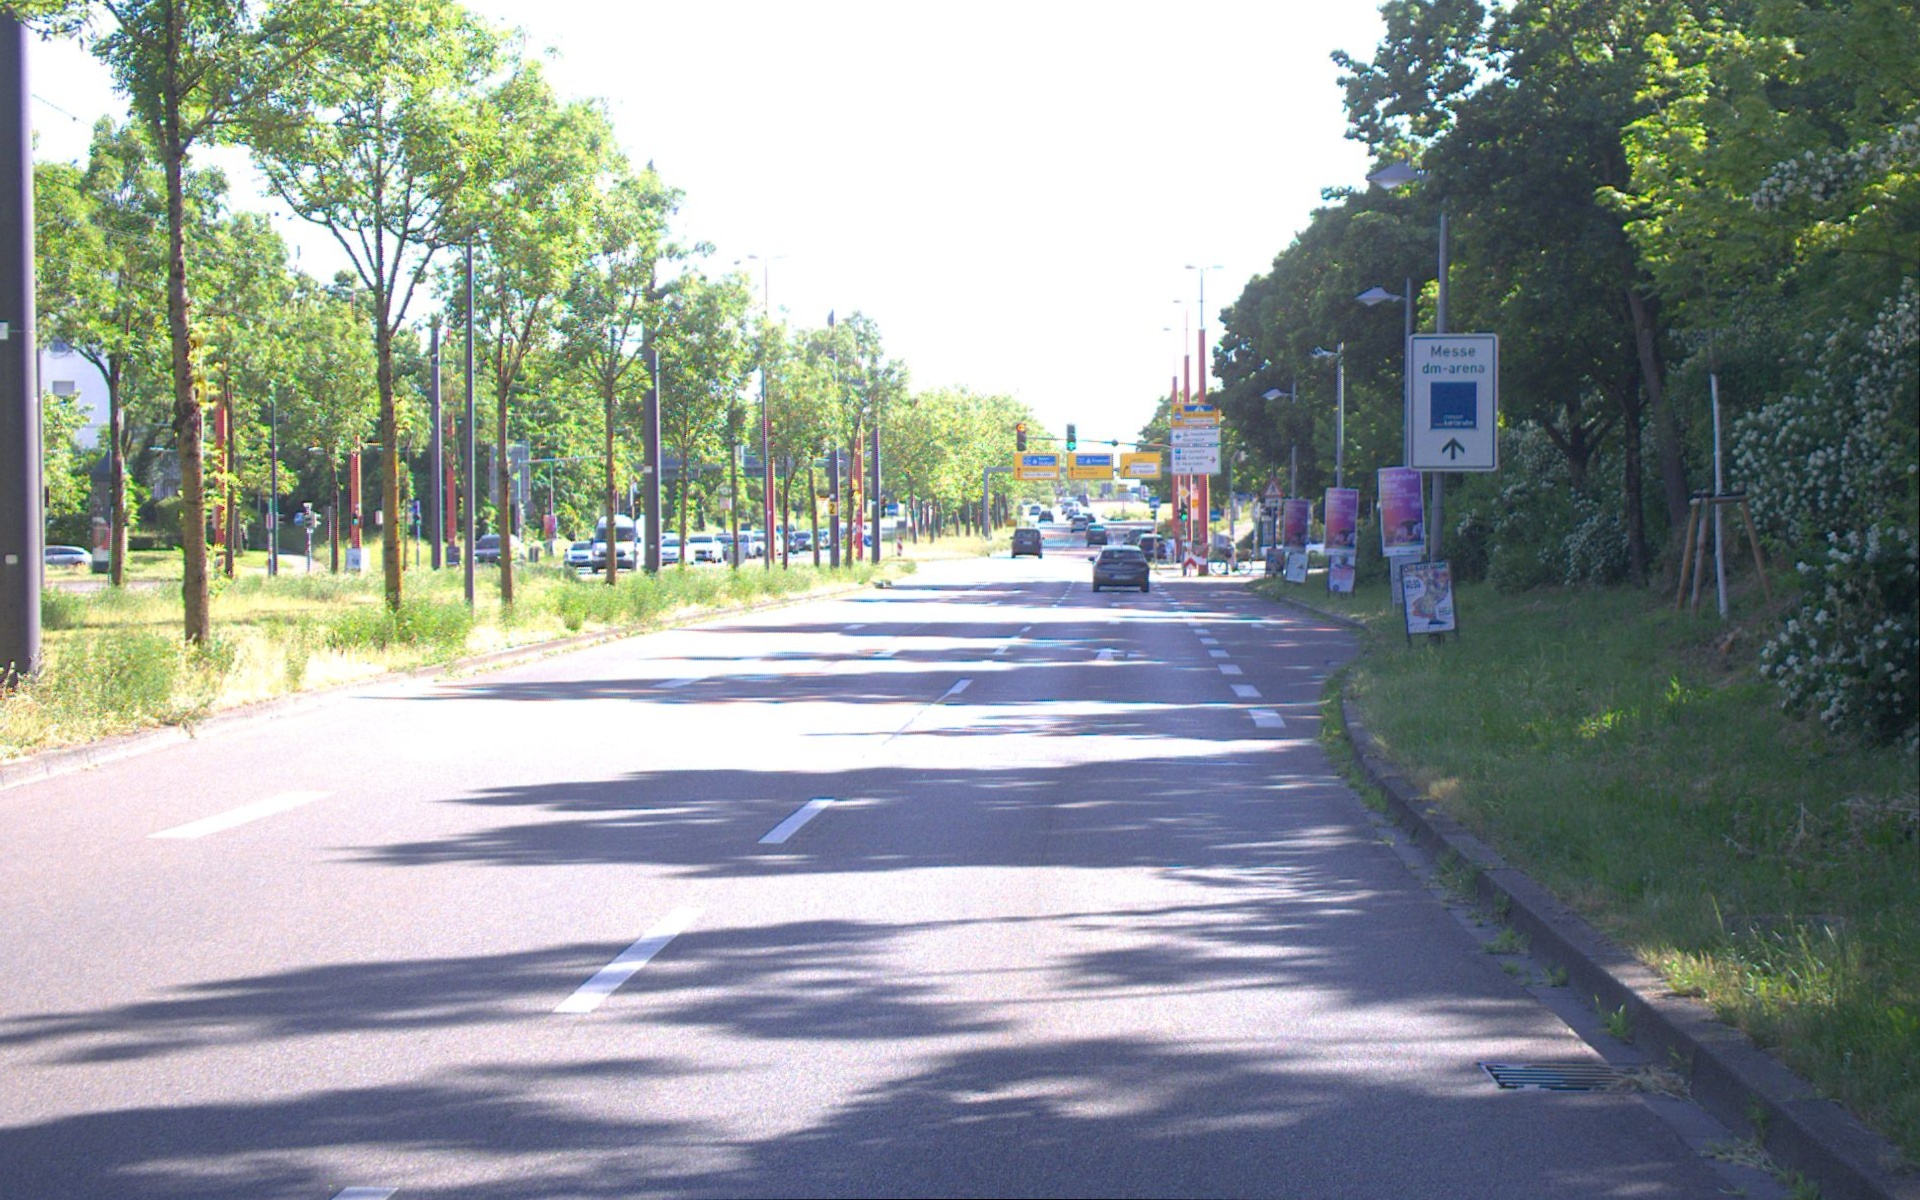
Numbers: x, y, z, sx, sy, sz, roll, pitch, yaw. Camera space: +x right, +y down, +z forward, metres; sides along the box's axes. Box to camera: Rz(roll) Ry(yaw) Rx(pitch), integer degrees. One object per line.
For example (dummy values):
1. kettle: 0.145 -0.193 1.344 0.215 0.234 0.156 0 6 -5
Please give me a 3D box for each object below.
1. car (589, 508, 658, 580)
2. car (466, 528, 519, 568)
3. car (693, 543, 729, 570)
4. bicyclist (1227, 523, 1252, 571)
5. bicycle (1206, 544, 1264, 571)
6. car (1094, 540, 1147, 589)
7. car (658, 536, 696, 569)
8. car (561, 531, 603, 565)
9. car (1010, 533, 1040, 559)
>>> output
1. car: -15.456 -2.548 158.189 2.465 3.228 6.134 1 1 1
2. car: -20.050 -2.250 147.501 1.631 1.675 4.192 0 1 1
3. car: -13.824 -2.430 190.752 1.631 1.440 4.192 0 1 1
4. bicyclist: 11.709 -2.234 144.217 1.009 2.000 0.812 0 1 3
5. bicycle: 11.532 -1.792 144.232 2.415 1.105 0.812 0 1 3
6. car: 5.115 -1.150 109.175 1.634 1.493 4.234 0 1 3
7. car: -14.959 -2.520 181.824 1.631 1.675 4.192 0 1 1
8. car: -18.948 -2.620 172.468 1.631 1.675 4.192 0 1 1
9. car: 3.831 -3.210 203.231 1.634 1.493 4.234 0 1 3
